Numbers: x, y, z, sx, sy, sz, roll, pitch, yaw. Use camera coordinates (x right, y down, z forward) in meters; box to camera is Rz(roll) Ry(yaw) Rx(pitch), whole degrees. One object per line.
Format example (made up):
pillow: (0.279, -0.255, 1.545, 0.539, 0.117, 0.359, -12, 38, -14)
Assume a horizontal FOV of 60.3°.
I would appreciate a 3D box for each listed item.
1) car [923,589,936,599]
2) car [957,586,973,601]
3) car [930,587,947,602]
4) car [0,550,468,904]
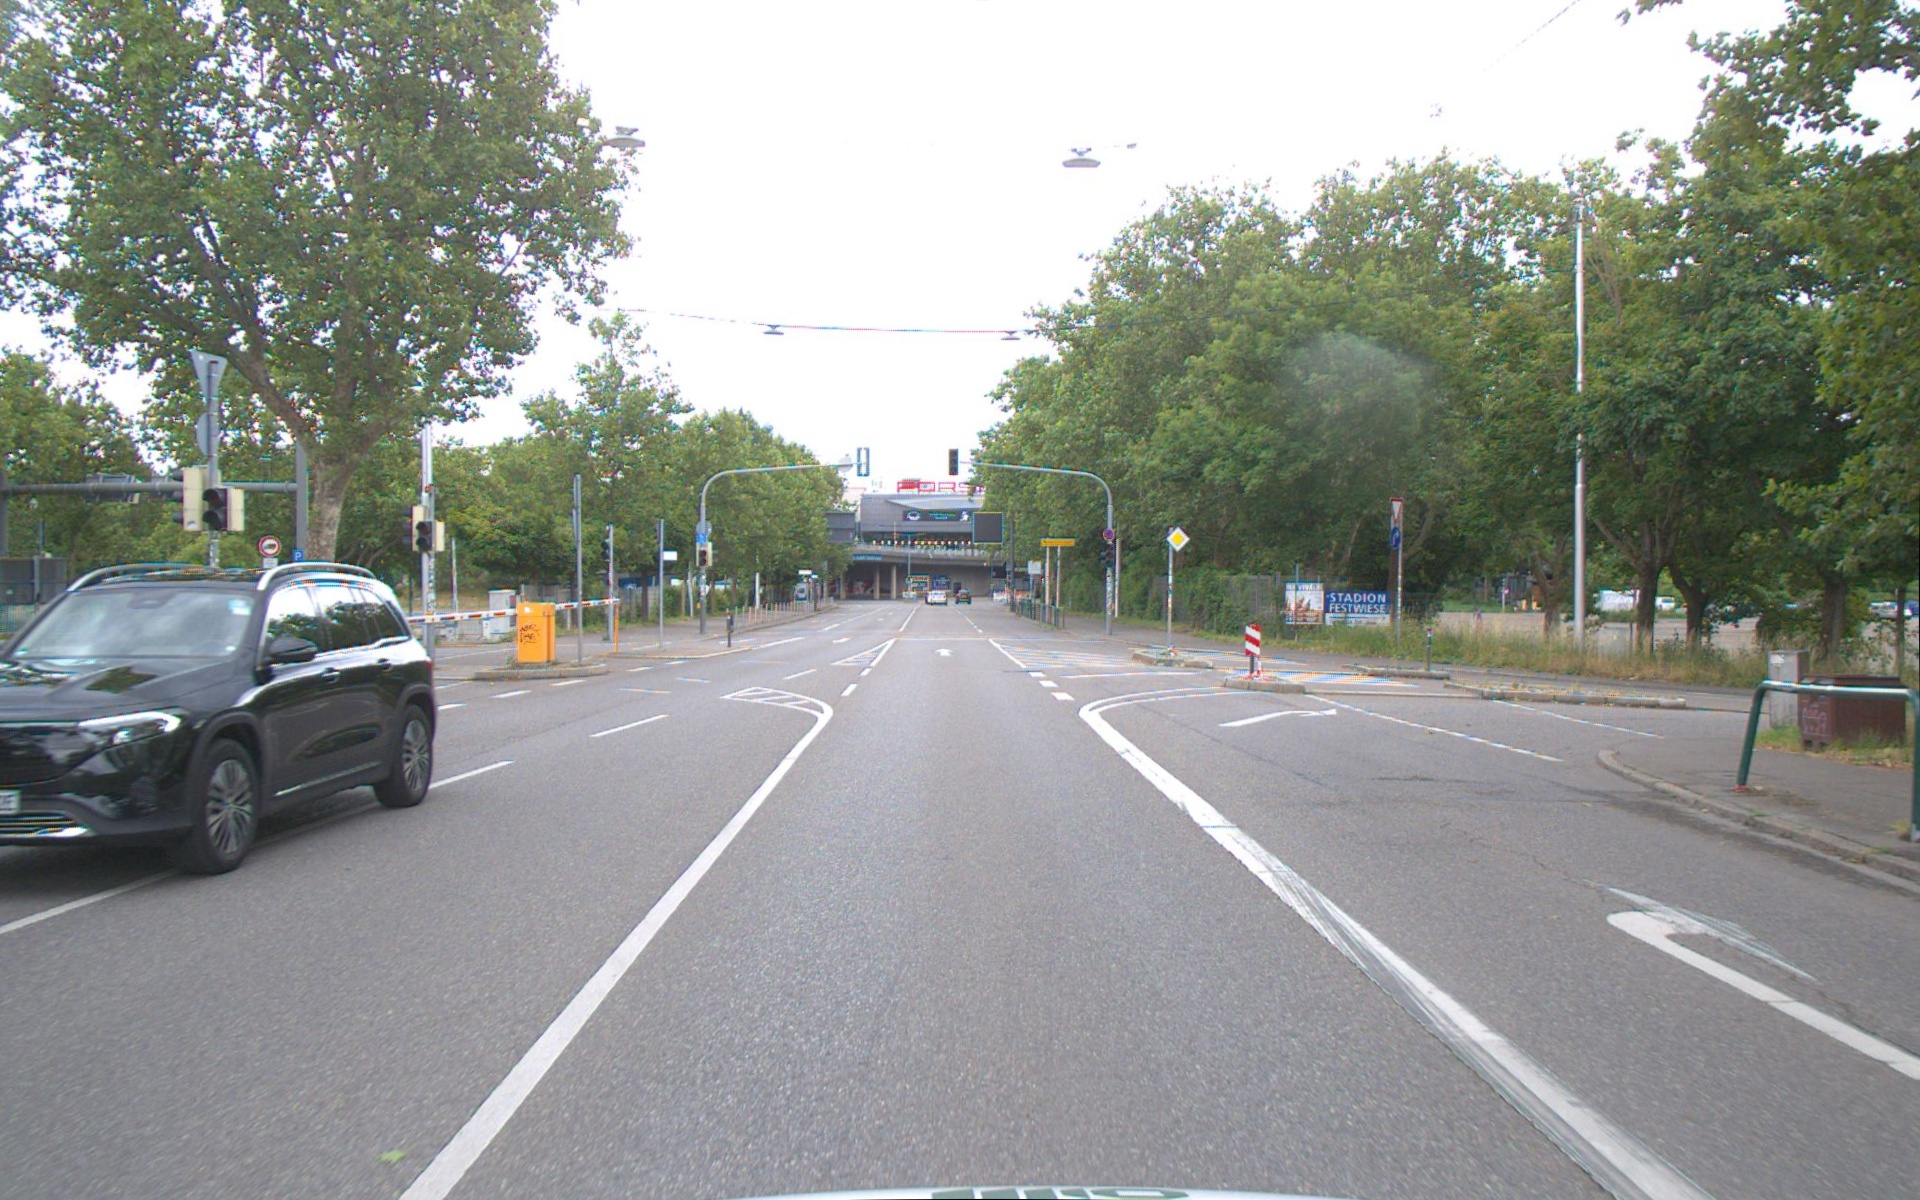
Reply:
car: (-3.428, -0.695, 187.240, 1.382, 1.132, 3.037, 1, 0, -1)
car: (0.608, -0.830, 202.966, 1.966, 1.728, 4.069, 1, 0, 0)
car: (-2.337, -0.586, 178.145, 1.742, 1.486, 3.822, 2, 0, 0)
car: (-4.779, 0.606, 10.230, 1.952, 1.689, 4.518, -1, 0, 2)
